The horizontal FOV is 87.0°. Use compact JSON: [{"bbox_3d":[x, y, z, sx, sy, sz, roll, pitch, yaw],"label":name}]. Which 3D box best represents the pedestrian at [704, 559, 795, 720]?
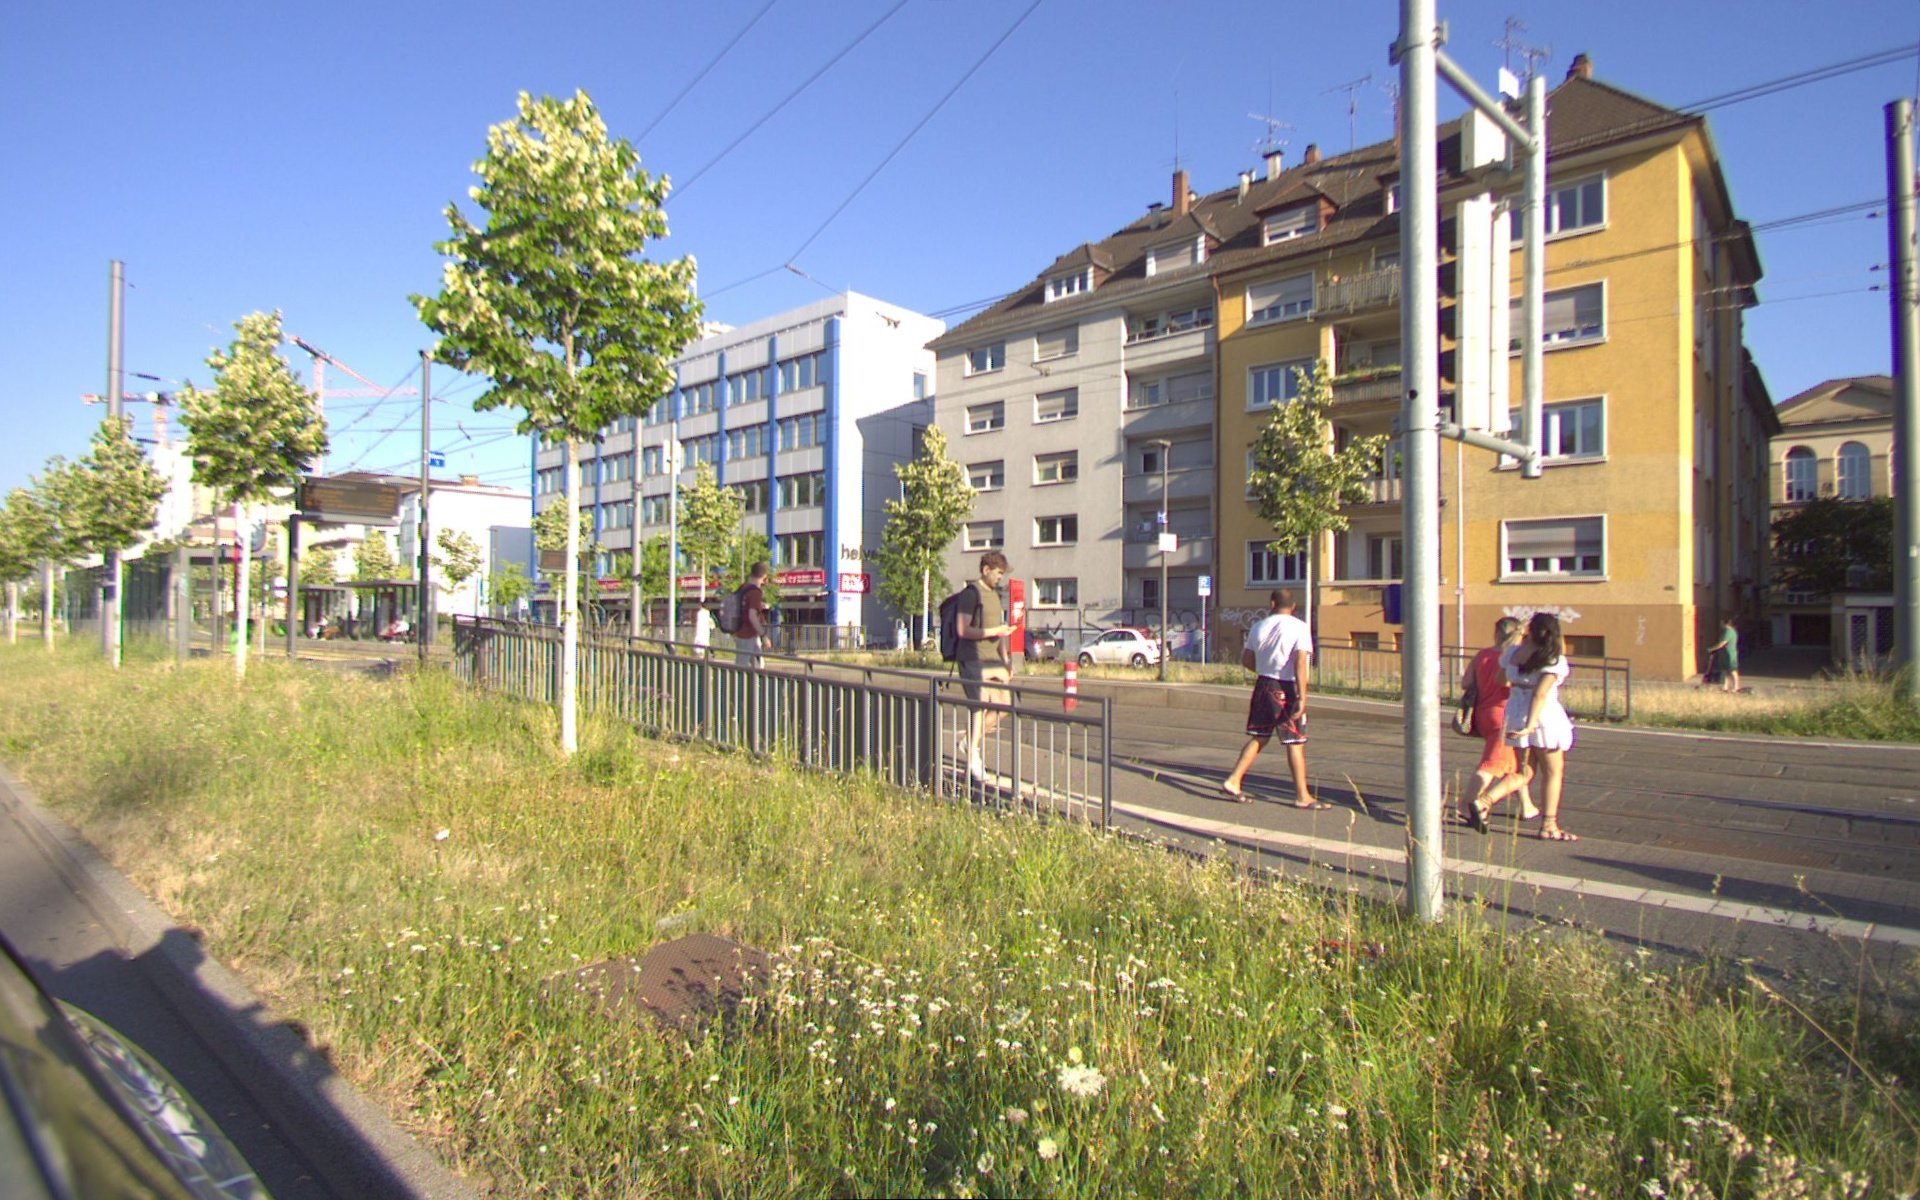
[{"bbox_3d":[-2.345,0.421,11.289,0.620,1.711,0.776,-1,0,44],"label":"pedestrian"}]

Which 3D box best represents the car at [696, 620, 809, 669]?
[{"bbox_3d":[-7.232,1.501,35.152,3.941,1.519,1.861,-1,0,41],"label":"car"}]

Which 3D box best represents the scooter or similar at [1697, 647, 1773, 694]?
[{"bbox_3d":[18.036,1.619,23.580,0.480,1.013,1.331,-1,0,-42],"label":"scooter or similar"}]

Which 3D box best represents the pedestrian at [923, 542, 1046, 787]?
[{"bbox_3d":[0.203,0.493,8.251,0.620,1.878,0.776,-1,0,44],"label":"pedestrian"}]

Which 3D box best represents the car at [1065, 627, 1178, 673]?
[{"bbox_3d":[5.934,1.801,37.368,3.672,1.519,1.861,-1,0,41],"label":"car"}]

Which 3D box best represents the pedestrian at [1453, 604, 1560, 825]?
[{"bbox_3d":[3.761,0.754,7.005,0.520,1.442,0.634,-1,0,18],"label":"pedestrian"}]

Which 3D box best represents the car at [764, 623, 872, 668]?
[{"bbox_3d":[-5.325,1.633,37.642,3.941,1.519,1.861,-1,0,41],"label":"car"}]

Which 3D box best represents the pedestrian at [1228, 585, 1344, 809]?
[{"bbox_3d":[2.446,0.677,7.564,0.618,1.560,0.778,0,0,35],"label":"pedestrian"}]

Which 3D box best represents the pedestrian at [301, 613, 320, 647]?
[{"bbox_3d":[-33.615,1.537,52.392,0.772,1.705,0.651,-1,0,44],"label":"pedestrian"}]

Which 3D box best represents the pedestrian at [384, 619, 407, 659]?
[{"bbox_3d":[-24.611,1.705,44.104,0.771,1.705,0.651,-1,0,39],"label":"pedestrian"}]

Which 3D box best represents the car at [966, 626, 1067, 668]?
[{"bbox_3d":[2.225,1.846,40.512,3.672,1.519,1.861,-1,0,41],"label":"car"}]

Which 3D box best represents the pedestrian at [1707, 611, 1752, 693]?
[{"bbox_3d":[17.972,1.192,23.642,0.553,1.861,0.724,-1,0,-42],"label":"pedestrian"}]

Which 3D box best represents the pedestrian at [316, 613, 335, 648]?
[{"bbox_3d":[-31.893,1.516,50.858,0.650,1.705,0.773,-1,0,-43],"label":"pedestrian"}]

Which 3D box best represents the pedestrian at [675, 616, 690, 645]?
[{"bbox_3d":[-16.787,1.837,61.206,0.636,1.759,0.599,-1,0,-42],"label":"pedestrian"}]

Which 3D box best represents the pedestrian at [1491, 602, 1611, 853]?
[{"bbox_3d":[3.673,0.751,6.330,0.521,1.467,0.634,-1,0,20],"label":"pedestrian"}]

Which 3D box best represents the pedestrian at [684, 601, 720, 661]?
[{"bbox_3d":[-7.366,0.878,28.923,0.620,1.685,0.776,-1,0,44],"label":"pedestrian"}]
